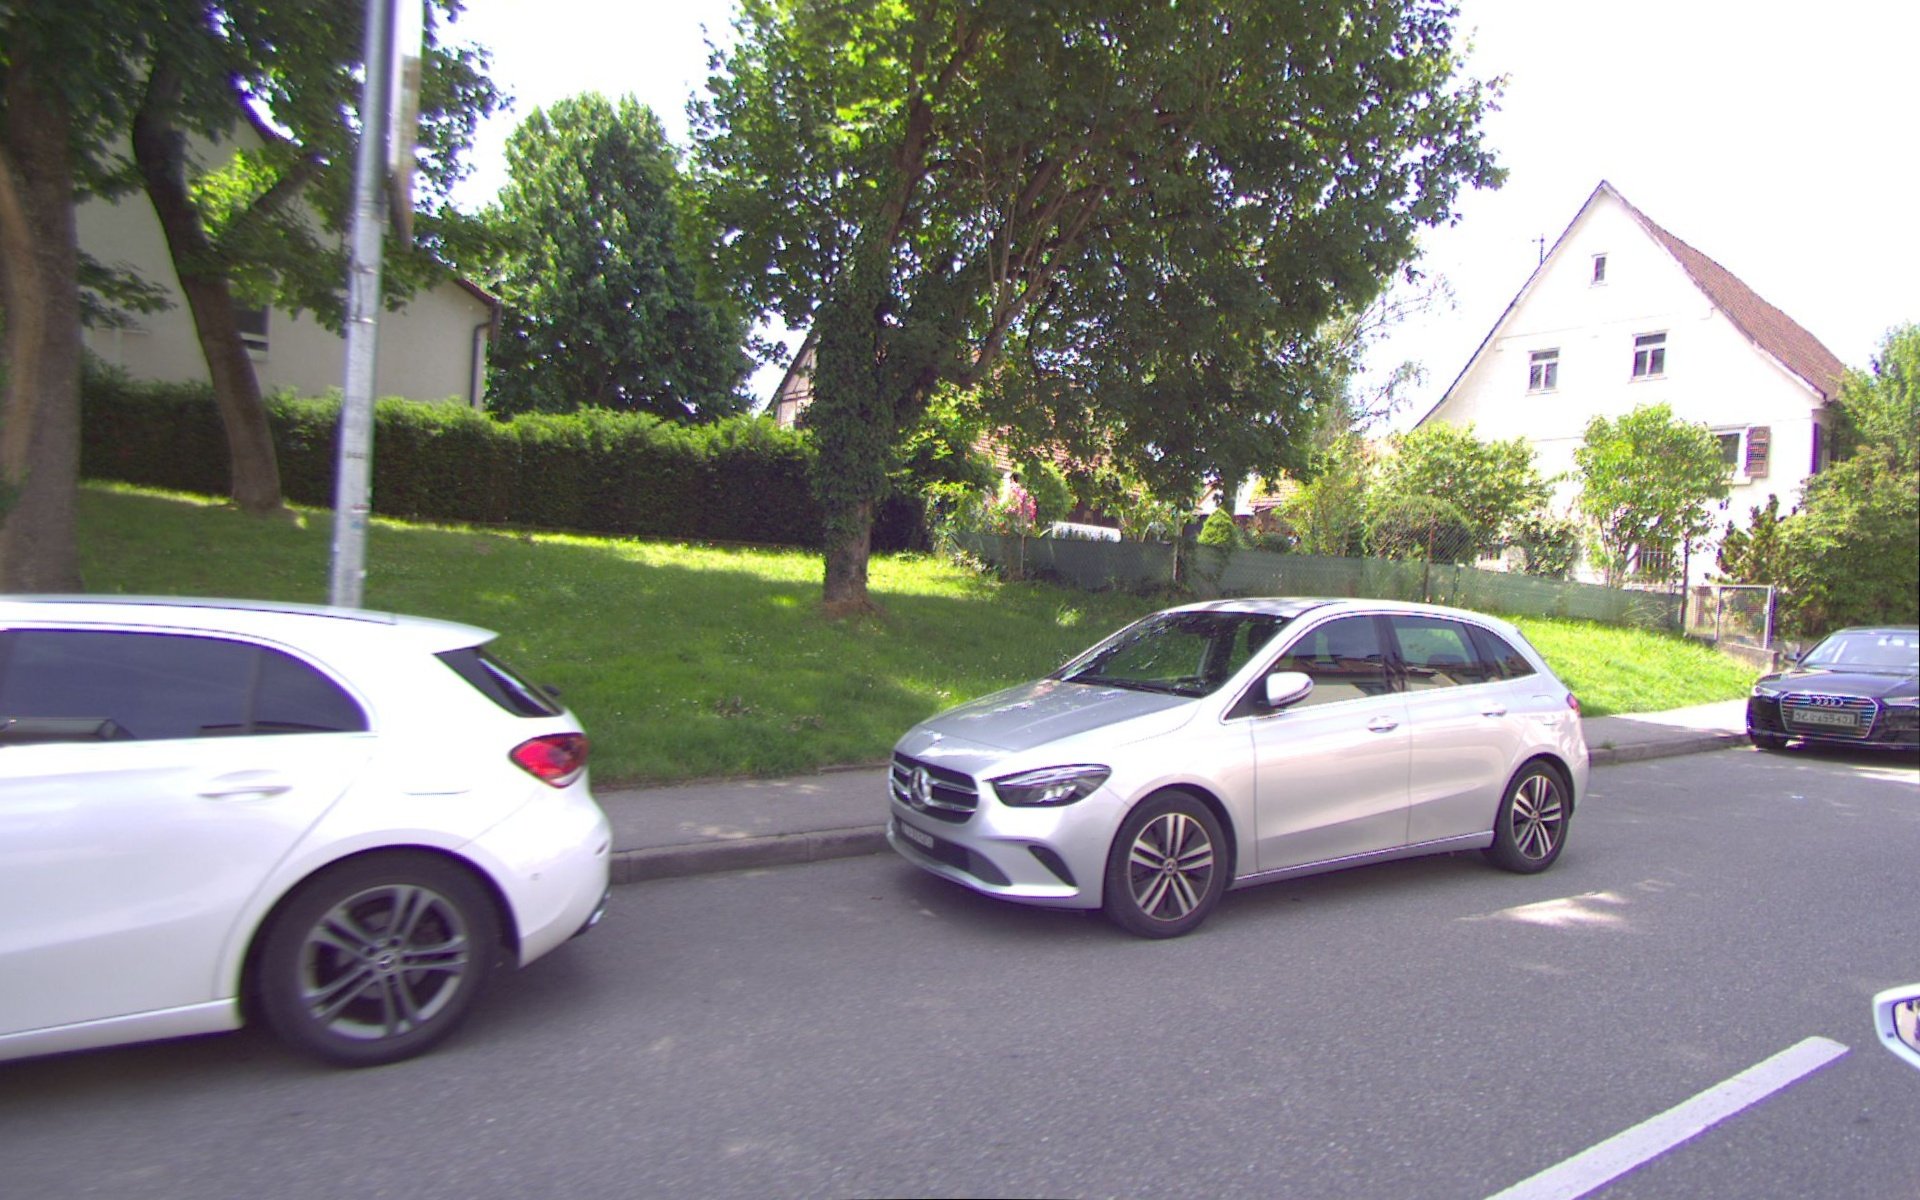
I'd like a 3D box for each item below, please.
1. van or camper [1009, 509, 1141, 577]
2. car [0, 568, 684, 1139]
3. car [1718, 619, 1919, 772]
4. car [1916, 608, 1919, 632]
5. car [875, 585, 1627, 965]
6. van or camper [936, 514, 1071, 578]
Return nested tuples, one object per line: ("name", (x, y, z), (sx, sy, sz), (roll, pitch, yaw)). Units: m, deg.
("van or camper", (3.890, -1.914, 33.897), (3.953, 2.041, 1.984), (1, 3, -30))
("car", (-3.259, 0.652, 3.183), (4.310, 1.486, 1.747), (1, -1, -30))
("car", (11.143, 0.982, 11.918), (4.873, 1.443, 1.795), (1, 1, -32))
("car", (48.819, 1.078, 48.129), (1.809, 1.424, 4.185), (1, 6, -45))
("car", (1.773, 0.755, 5.858), (4.169, 1.547, 1.765), (1, 0, -28))
("van or camper", (1.634, -1.937, 36.429), (4.780, 2.041, 1.976), (1, 4, -41))
